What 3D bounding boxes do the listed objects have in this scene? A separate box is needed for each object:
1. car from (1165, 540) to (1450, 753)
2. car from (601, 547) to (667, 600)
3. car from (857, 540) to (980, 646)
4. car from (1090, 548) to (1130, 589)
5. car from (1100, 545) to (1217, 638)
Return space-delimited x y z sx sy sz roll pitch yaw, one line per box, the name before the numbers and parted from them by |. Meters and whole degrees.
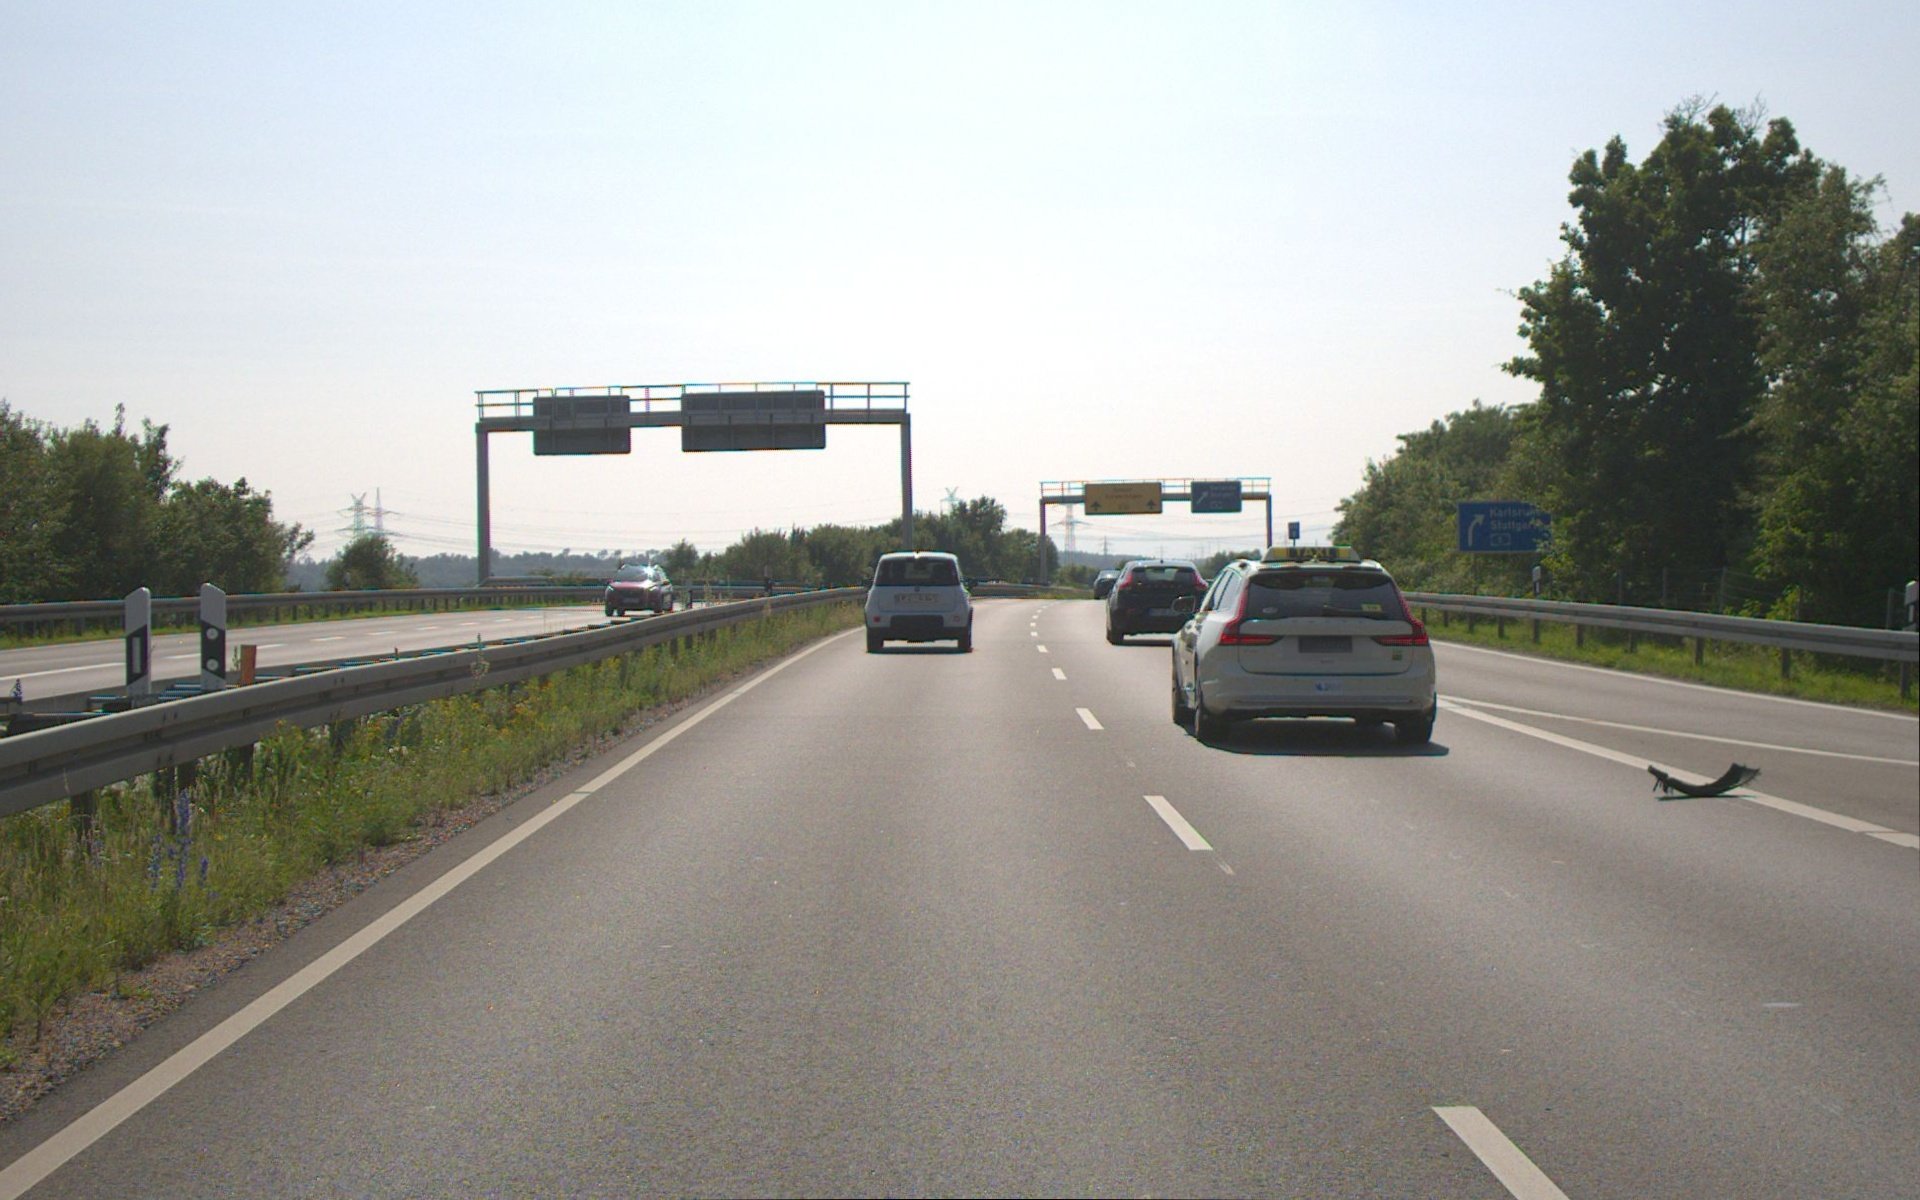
car | 2.784 0.333 28.351 1.958 1.596 4.107 1 1 1
car | -9.935 -0.806 105.013 1.642 1.569 4.265 1 1 -1
car | -0.617 -0.078 54.392 1.793 1.498 4.042 -2 -2 1
car | 7.628 -1.613 175.326 1.994 2.007 4.000 1 1 2
car | 3.378 -0.129 59.045 1.793 1.538 3.671 1 0 0
